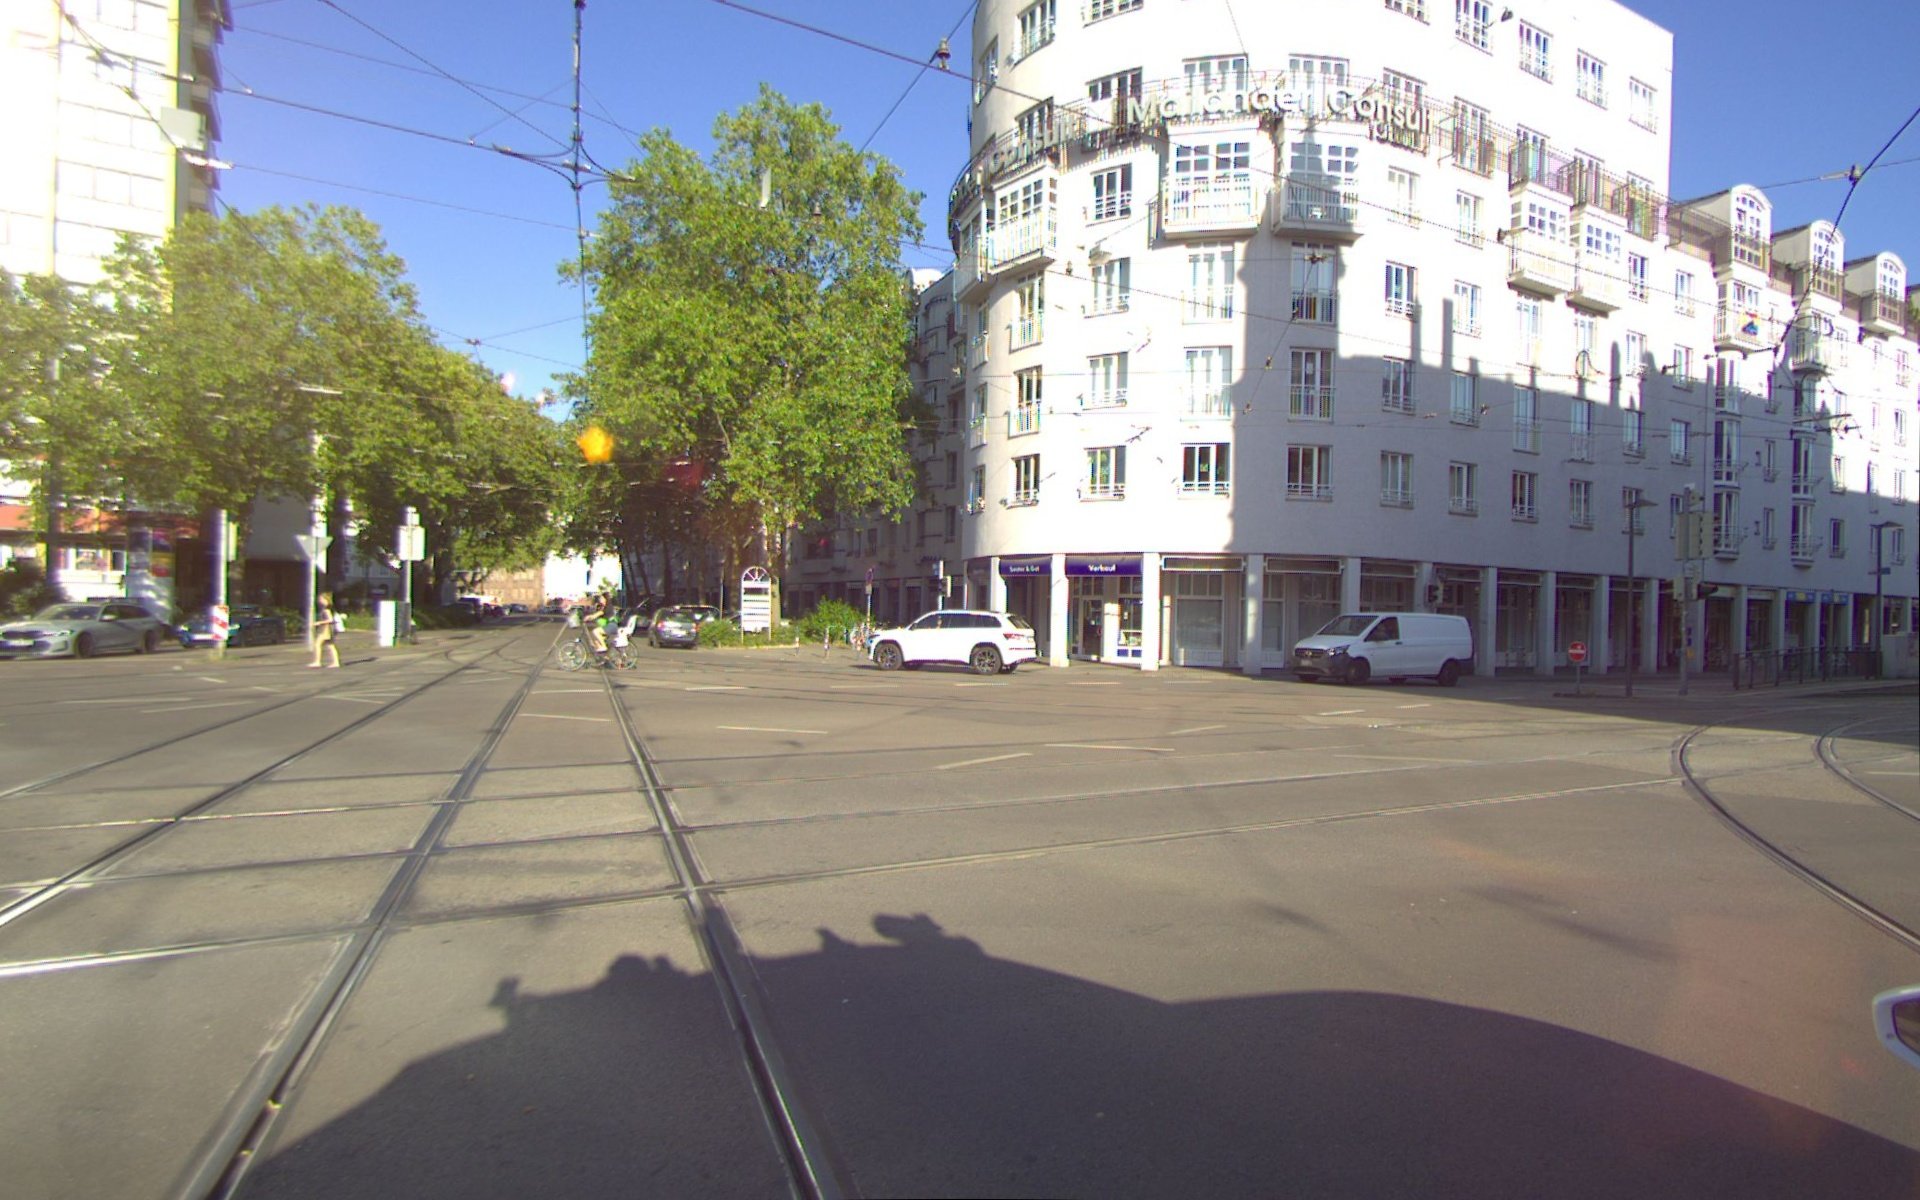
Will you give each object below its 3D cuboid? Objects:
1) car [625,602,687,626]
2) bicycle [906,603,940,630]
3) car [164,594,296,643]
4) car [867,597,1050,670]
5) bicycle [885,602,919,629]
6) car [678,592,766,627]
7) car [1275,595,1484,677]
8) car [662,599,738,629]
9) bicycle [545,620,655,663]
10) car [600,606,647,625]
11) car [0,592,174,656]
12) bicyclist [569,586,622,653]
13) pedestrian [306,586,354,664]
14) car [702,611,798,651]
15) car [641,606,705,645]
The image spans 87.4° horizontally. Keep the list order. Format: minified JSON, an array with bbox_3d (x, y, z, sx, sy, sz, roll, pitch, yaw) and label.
[{"bbox_3d":[-21.523,1.013,71.202,3.948,1.530,1.788,3,-1,-27],"label":"car"},{"bbox_3d":[-1.649,0.713,44.093,0.807,1.122,1.937,3,0,-23],"label":"bicycle"},{"bbox_3d":[-24.561,0.606,34.000,1.858,1.440,4.446,3,-1,-12],"label":"car"},{"bbox_3d":[-0.019,0.864,26.953,4.422,1.641,2.000,3,0,20],"label":"car"},{"bbox_3d":[-2.537,0.664,43.690,0.807,1.122,1.937,3,0,-23],"label":"bicycle"},{"bbox_3d":[-11.829,0.459,49.955,3.948,1.530,1.788,3,-1,-27],"label":"car"},{"bbox_3d":[10.986,0.994,26.247,5.274,1.861,1.988,3,-3,-24],"label":"car"},{"bbox_3d":[-15.066,0.812,58.149,3.948,1.530,1.788,3,-1,-27],"label":"car"},{"bbox_3d":[-8.321,0.972,23.283,2.246,0.939,0.834,3,-4,-39],"label":"bicycle"},{"bbox_3d":[-32.045,1.498,95.632,3.954,1.530,1.785,4,0,-31],"label":"car"},{"bbox_3d":[-22.892,0.596,26.224,1.858,1.440,4.446,3,-1,-12],"label":"car"},{"bbox_3d":[-8.428,0.468,23.217,0.889,1.486,0.834,3,-4,-39],"label":"bicyclist"},{"bbox_3d":[-14.017,0.558,22.368,0.686,1.704,0.867,1,0,-20],"label":"pedestrian"},{"bbox_3d":[-9.766,1.441,46.811,3.954,1.530,1.785,4,1,-30],"label":"car"},{"bbox_3d":[-11.905,1.022,41.480,1.865,1.440,4.429,3,-1,-24],"label":"car"}]
